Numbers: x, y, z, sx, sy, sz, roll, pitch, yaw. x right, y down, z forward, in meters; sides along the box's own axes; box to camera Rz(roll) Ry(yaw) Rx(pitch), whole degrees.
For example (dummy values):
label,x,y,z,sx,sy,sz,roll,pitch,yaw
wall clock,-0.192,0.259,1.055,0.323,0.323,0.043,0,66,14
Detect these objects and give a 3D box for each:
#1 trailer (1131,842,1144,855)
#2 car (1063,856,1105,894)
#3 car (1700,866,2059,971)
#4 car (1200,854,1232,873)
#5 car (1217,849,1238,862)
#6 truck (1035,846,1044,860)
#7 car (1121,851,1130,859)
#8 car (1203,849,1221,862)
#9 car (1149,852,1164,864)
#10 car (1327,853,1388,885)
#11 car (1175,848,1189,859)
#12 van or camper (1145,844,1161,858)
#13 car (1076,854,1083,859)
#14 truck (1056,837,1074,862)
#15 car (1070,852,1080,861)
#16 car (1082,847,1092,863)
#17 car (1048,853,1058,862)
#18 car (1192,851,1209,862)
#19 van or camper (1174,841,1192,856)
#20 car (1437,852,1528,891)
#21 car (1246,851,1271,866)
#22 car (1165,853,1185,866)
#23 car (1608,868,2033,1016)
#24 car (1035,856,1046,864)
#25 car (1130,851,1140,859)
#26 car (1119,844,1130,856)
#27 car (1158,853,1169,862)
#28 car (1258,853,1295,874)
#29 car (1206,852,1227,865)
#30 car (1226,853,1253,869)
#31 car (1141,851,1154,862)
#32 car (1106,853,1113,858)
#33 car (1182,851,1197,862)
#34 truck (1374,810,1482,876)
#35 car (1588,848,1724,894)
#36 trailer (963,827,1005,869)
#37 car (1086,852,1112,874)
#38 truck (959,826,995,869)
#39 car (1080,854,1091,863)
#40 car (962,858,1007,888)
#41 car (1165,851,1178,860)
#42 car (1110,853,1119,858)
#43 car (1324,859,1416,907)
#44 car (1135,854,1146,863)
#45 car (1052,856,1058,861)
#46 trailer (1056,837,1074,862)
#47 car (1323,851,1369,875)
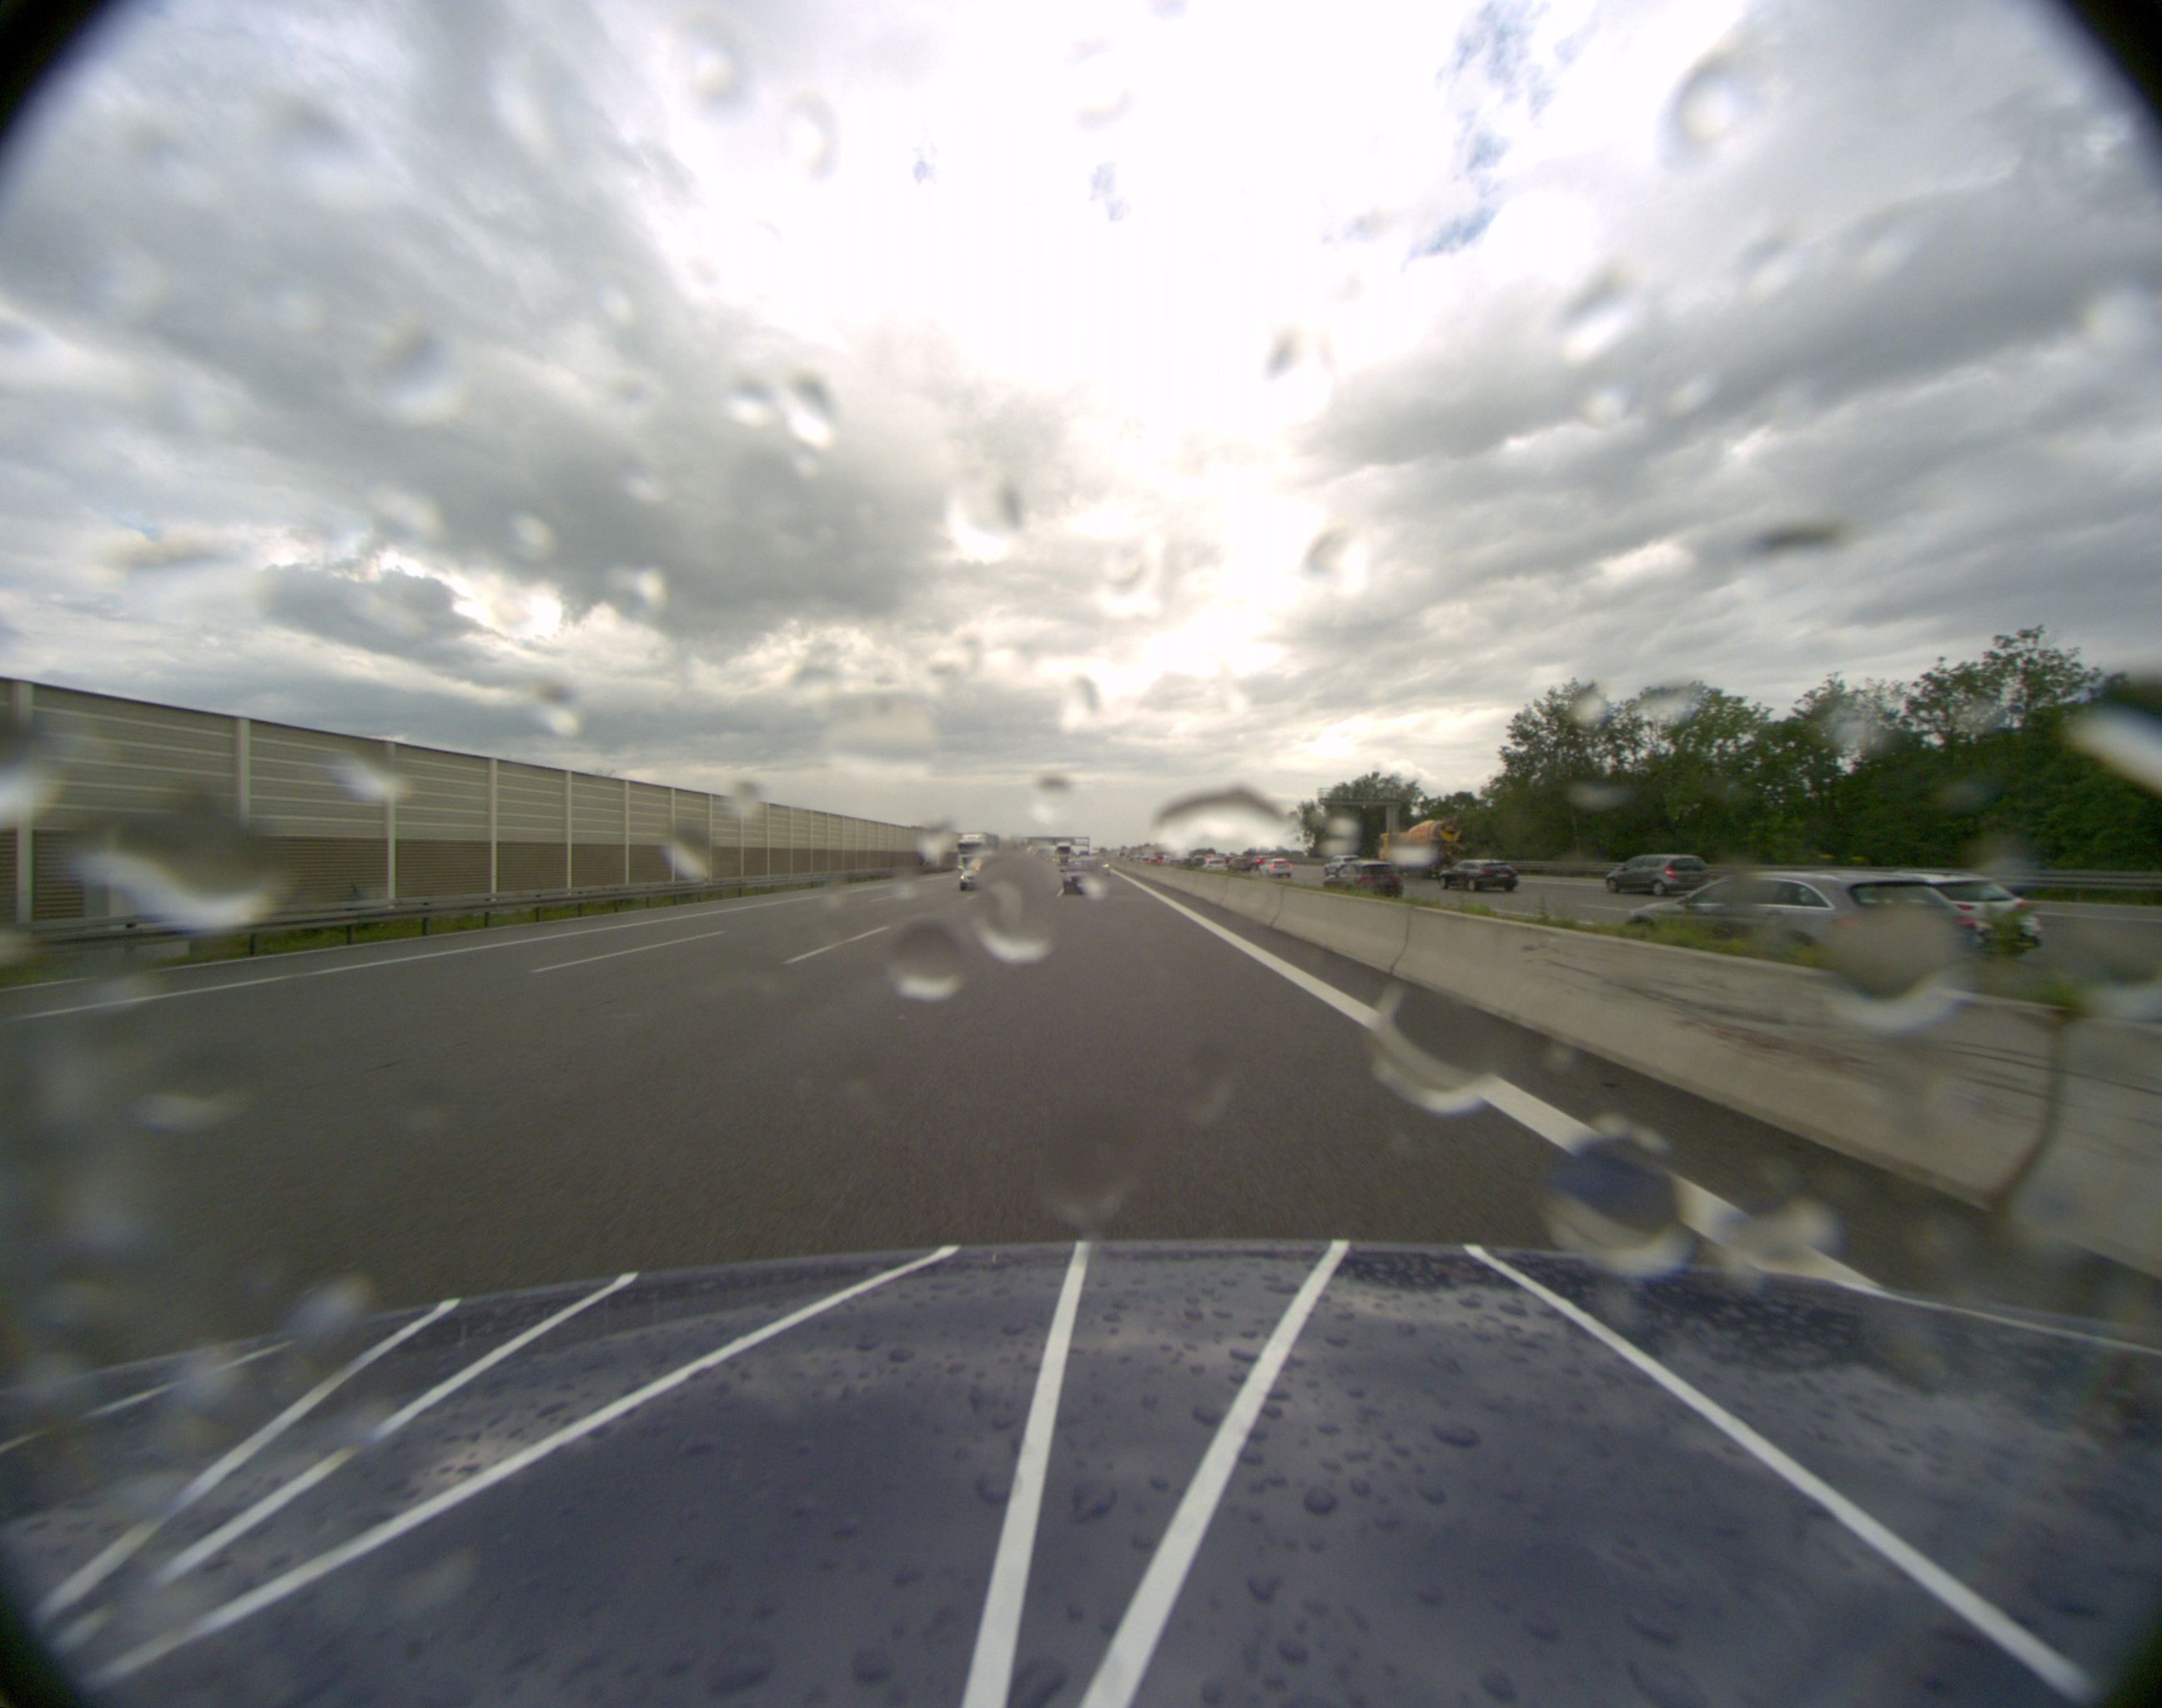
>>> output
label,x,y,z,sx,sy,sz,roll,pitch,yaw
trailer,19.662,-1.867,265.629,2.939,4.008,14.451,-1,0,-1
car,0.107,0.823,31.615,1.578,1.394,4.000,-2,0,0
car,14.813,1.069,14.643,1.727,1.486,4.912,-3,1,0
car,11.183,0.768,63.118,1.727,1.420,4.648,-3,1,0
car,19.171,0.202,99.601,1.727,1.636,5.235,-2,1,1
truck,-12.571,-0.229,233.124,2.600,4.087,11.369,-1,0,-3
car,10.432,0.191,179.124,1.727,1.636,4.518,-2,1,1
car,19.240,0.204,111.770,1.727,1.636,4.518,-2,1,1
car,11.279,0.546,113.956,1.727,1.636,4.992,-2,1,1
car,15.440,0.783,42.678,1.727,1.593,4.644,-2,1,1
car,18.624,-0.151,140.446,1.692,1.925,5.547,-3,1,-1
van or camper,16.011,-0.767,169.360,2.632,2.934,7.357,-3,1,-1
car,-0.454,0.782,210.669,1.698,1.394,3.999,-1,0,-1
truck,-2.723,-0.782,130.252,2.913,4.146,5.192,-3,0,-1
car,-1.280,0.551,167.971,1.999,2.002,4.000,-2,0,-1
car,1.117,0.223,145.320,1.645,3.041,4.589,-1,0,-1
car,-6.413,0.726,174.391,1.998,2.002,4.000,-2,0,1
car,16.507,0.299,104.887,1.727,1.410,4.201,0,1,1
van or camper,22.477,-1.132,167.951,2.632,3.104,8.475,-3,1,-1
car,18.810,0.781,35.879,1.727,1.593,4.913,-2,1,1
car,19.395,0.488,83.236,1.727,1.420,4.518,-2,1,1
car,11.276,0.665,91.342,1.727,1.420,5.230,-2,1,1
car,10.735,1.125,11.724,1.727,1.593,4.912,-3,1,0
car,-6.941,1.047,130.087,1.698,1.394,3.999,-1,0,-1
car,11.098,0.212,155.562,1.727,1.636,5.061,-2,1,1
car,11.160,-1.026,196.217,2.237,2.733,9.164,-1,-1,0
car,16.053,0.637,148.458,1.727,1.636,4.518,-2,1,1
car,15.605,0.716,60.906,1.727,1.461,4.848,-2,1,1
car,16.199,0.495,91.144,1.727,1.420,4.518,-2,1,1
car,15.782,0.638,75.971,1.727,1.420,4.518,-2,1,1
car,11.021,0.399,125.968,1.727,1.636,4.997,-2,1,1
car,9.030,0.455,241.779,2.066,1.636,5.379,-1,0,-1
car,16.571,0.338,116.339,1.727,1.636,4.518,-2,1,1
truck,23.128,-0.700,51.431,2.922,3.991,9.582,-1,0,0
car,22.764,0.619,30.353,1.727,1.593,4.913,-2,1,1
trailer,-10.300,-0.554,82.384,2.768,4.008,14.452,-1,0,0
car,1.308,0.644,56.003,1.776,1.451,4.480,-1,0,0
truck,-10.232,-0.626,75.326,2.752,4.011,5.725,-1,0,0
car,0.682,0.670,117.325,1.498,1.394,4.000,-1,0,0
car,-4.790,0.930,38.256,1.732,1.394,4.000,-1,0,-1
car,16.122,0.230,135.982,1.727,1.407,4.518,-2,1,1
car,9.418,0.442,215.042,2.066,1.526,5.469,-1,0,-1
car,11.215,1.055,29.869,1.727,1.593,4.913,-2,1,1
car,11.153,0.818,143.430,1.727,1.636,5.061,-2,1,1
car,-7.319,1.246,216.124,1.698,1.394,3.999,-1,0,-1
trailer,-2.841,-0.757,136.889,2.926,4.187,13.195,-2,0,-1
car,19.189,0.615,55.252,1.727,1.593,4.518,-2,1,1
